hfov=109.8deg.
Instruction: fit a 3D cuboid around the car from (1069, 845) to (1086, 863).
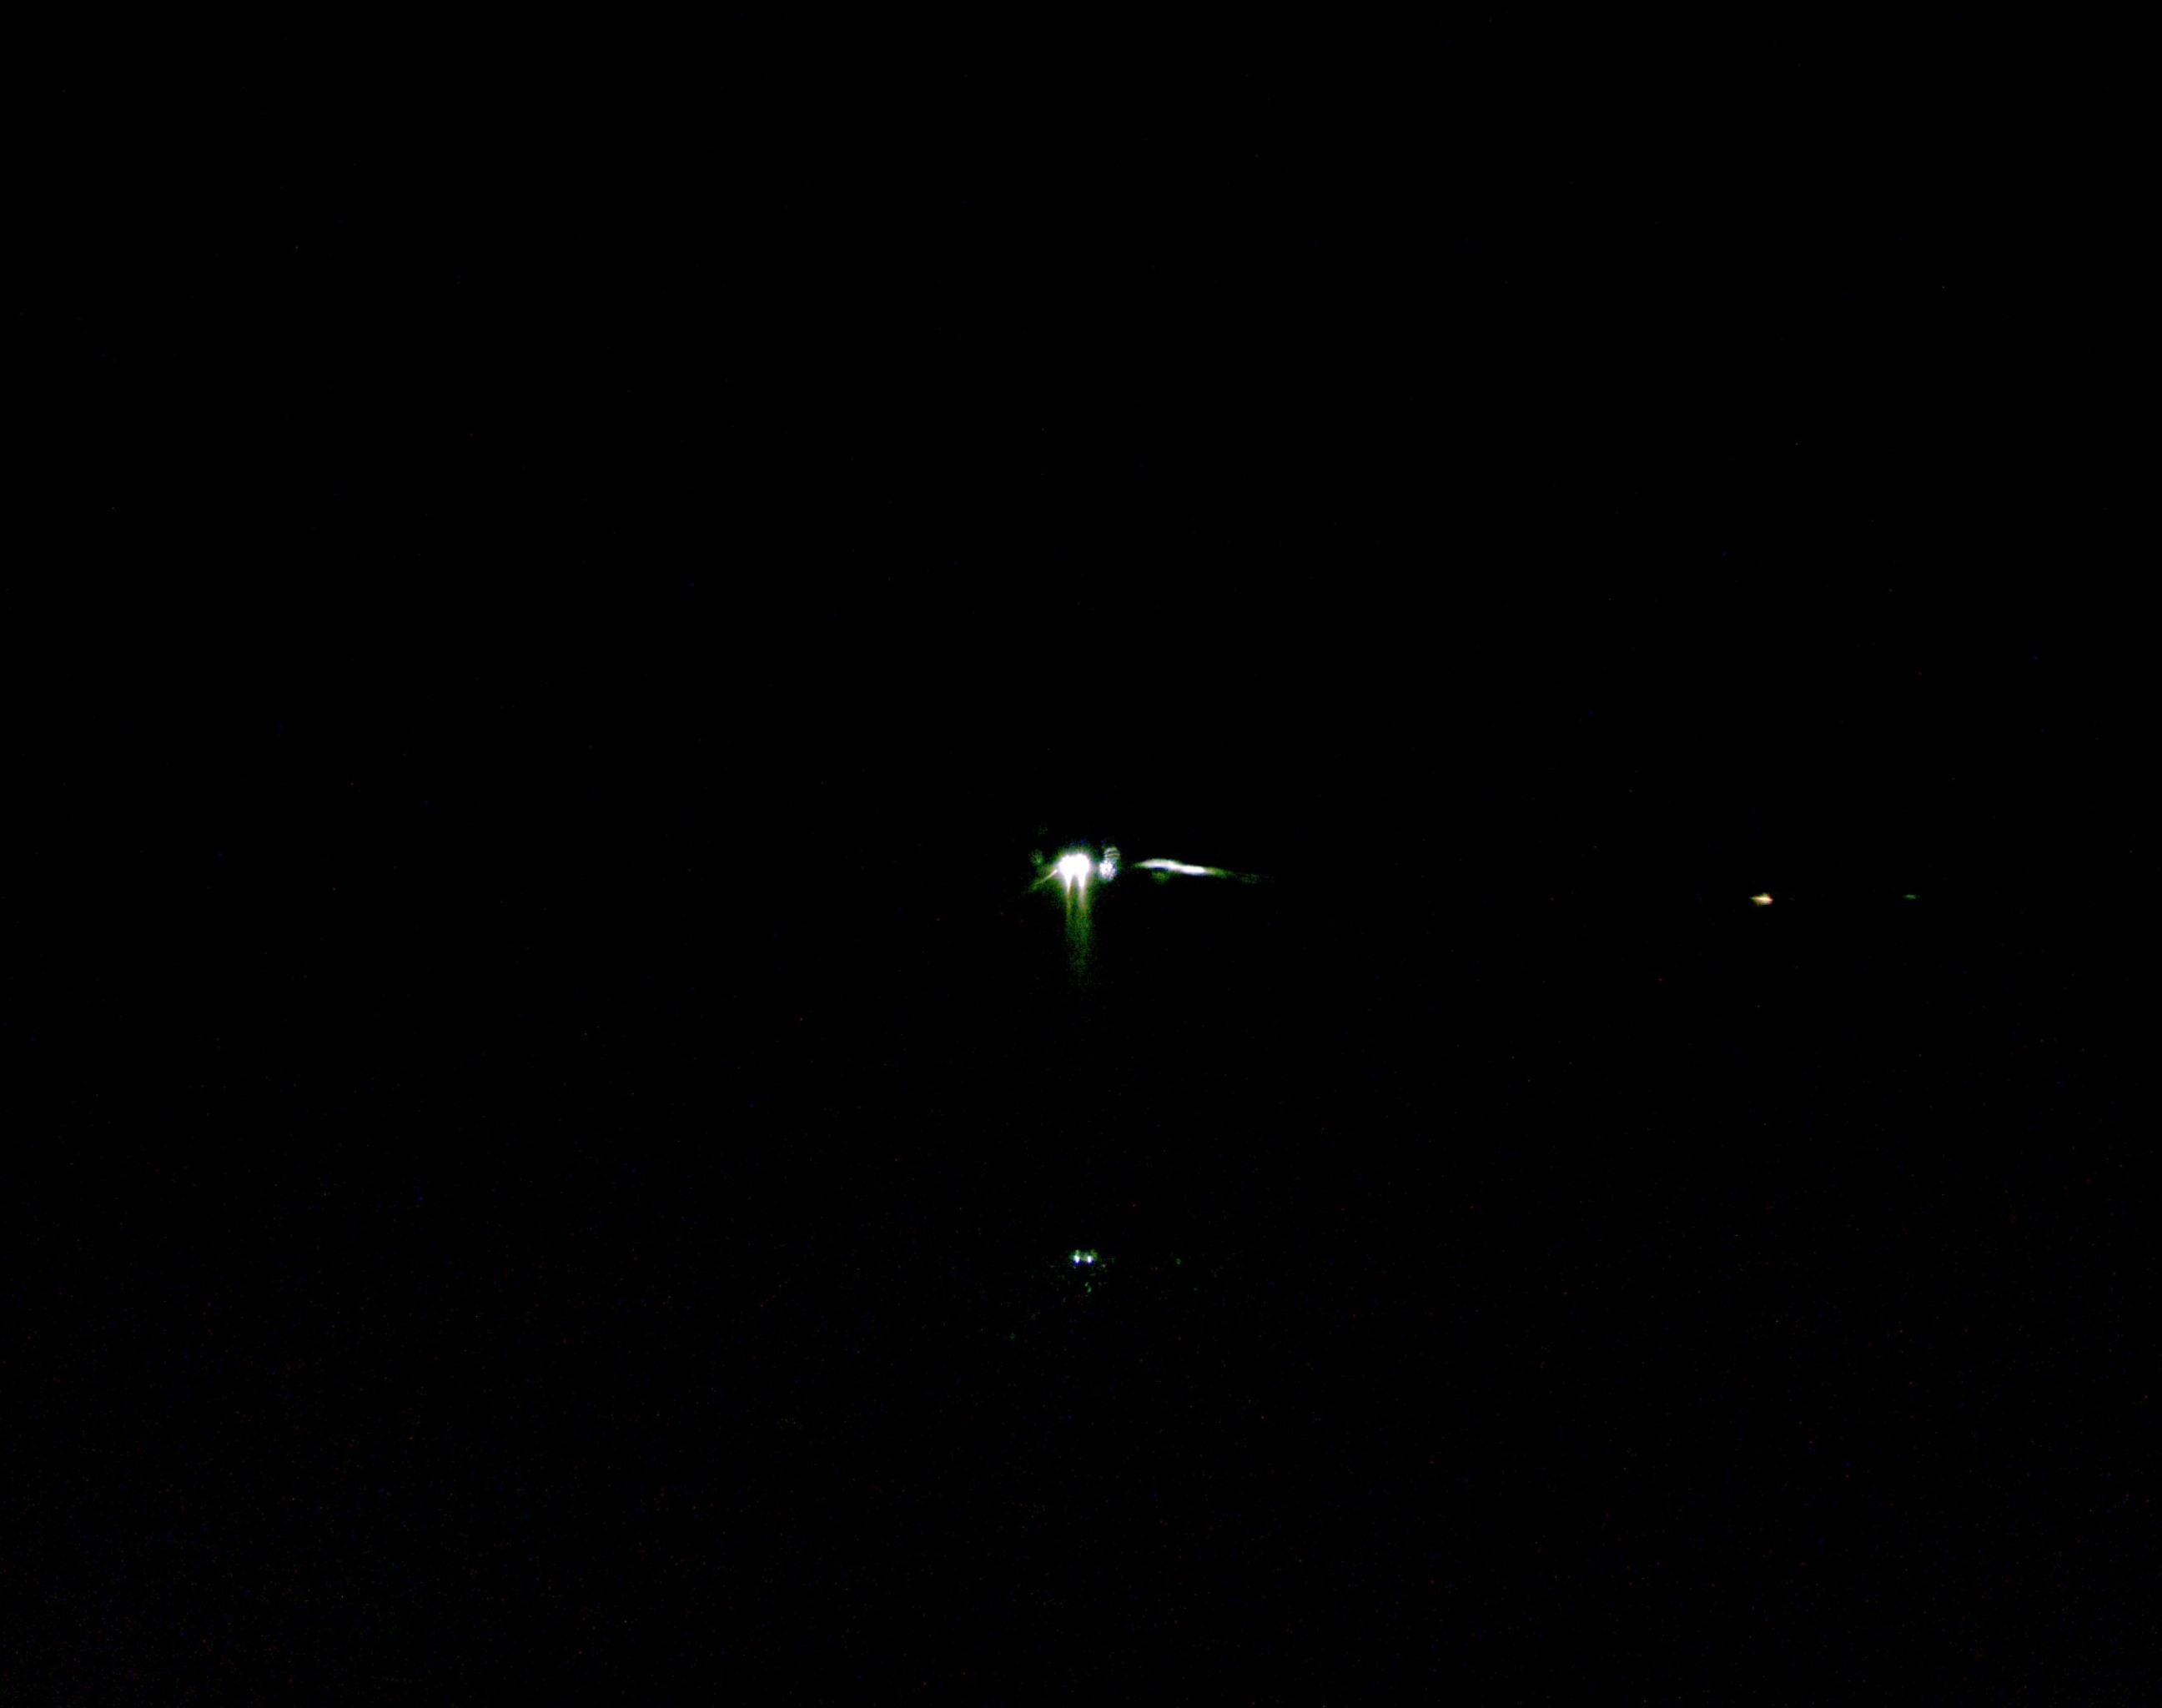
[{"bbox_3d":[-0.374,-0.008,93.544,1.998,2.003,3.998,-2,3,0],"label":"car"}]
